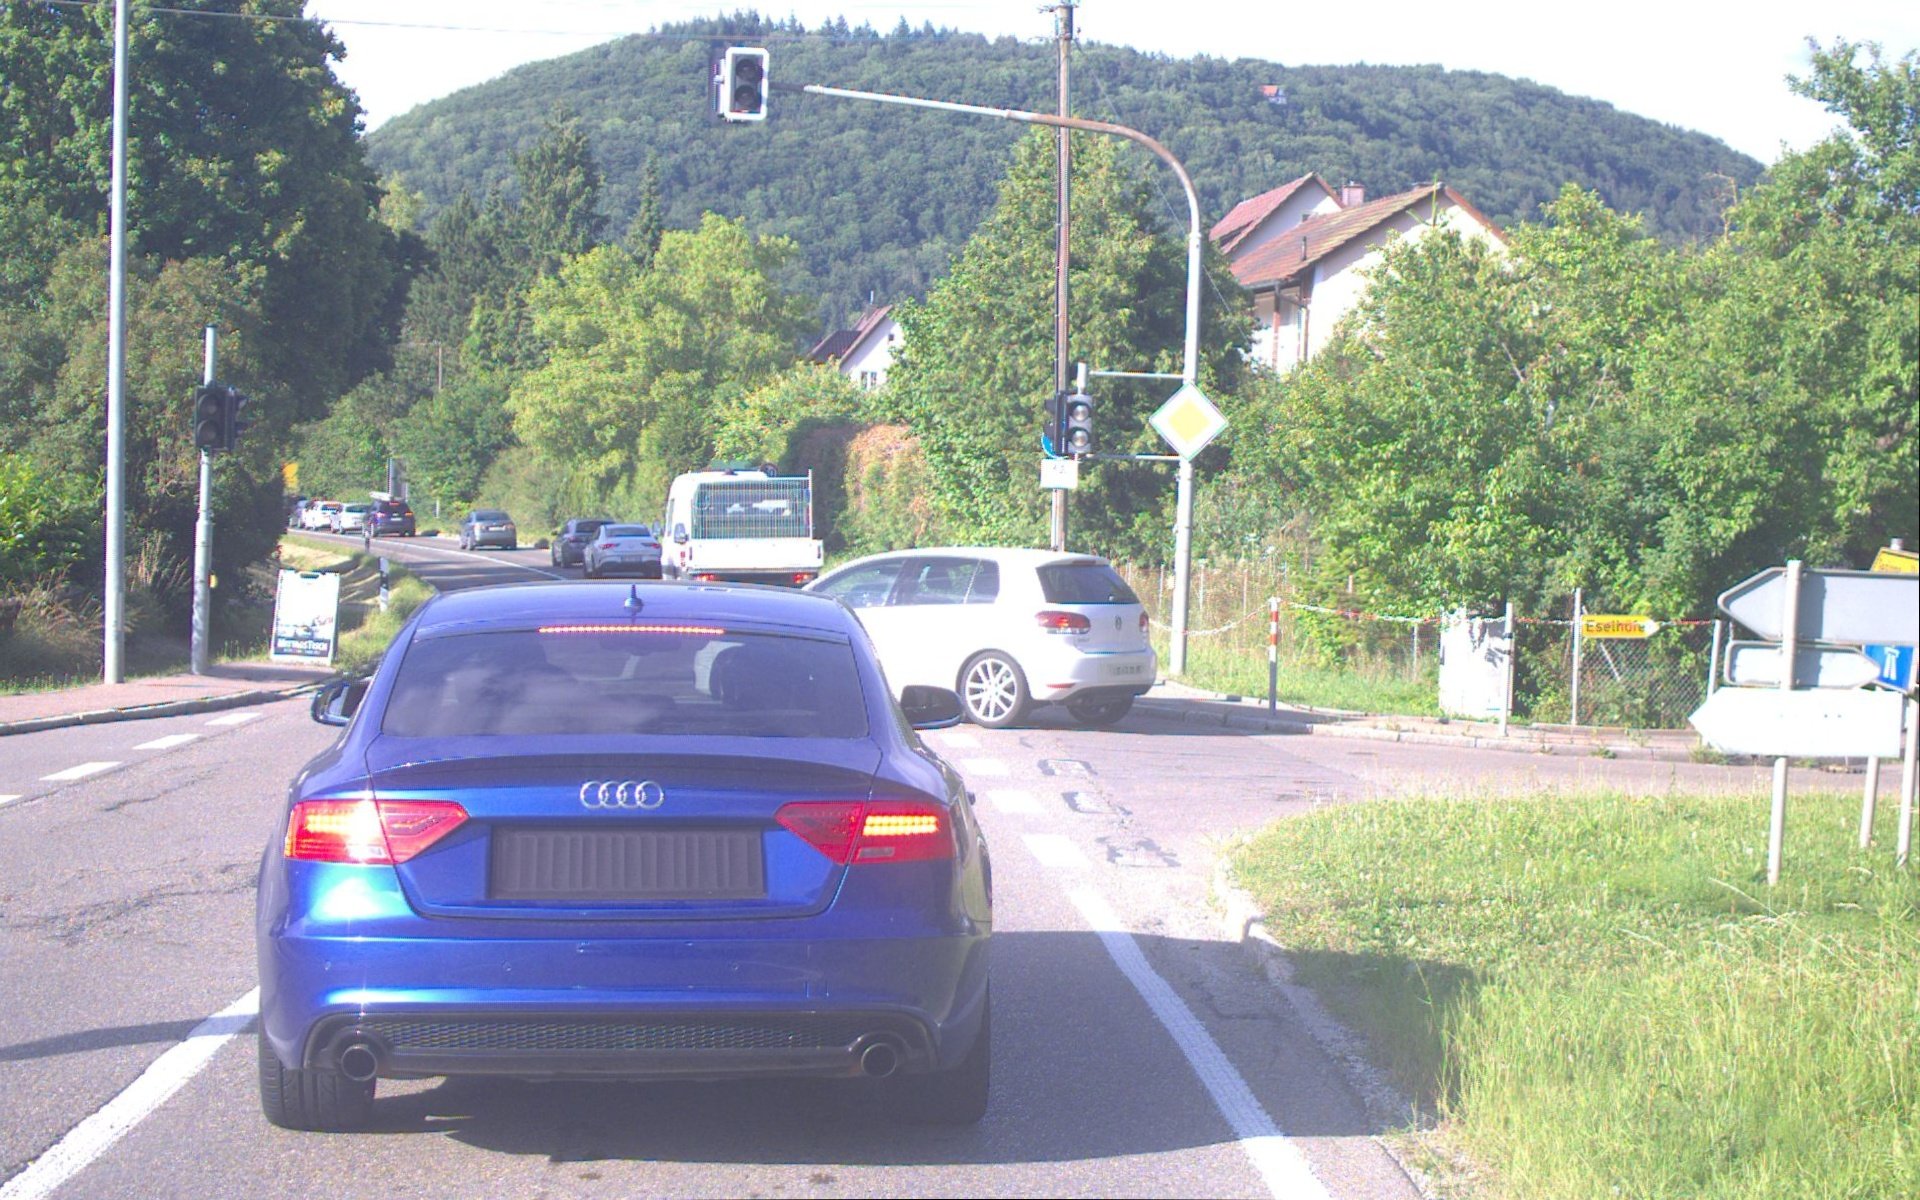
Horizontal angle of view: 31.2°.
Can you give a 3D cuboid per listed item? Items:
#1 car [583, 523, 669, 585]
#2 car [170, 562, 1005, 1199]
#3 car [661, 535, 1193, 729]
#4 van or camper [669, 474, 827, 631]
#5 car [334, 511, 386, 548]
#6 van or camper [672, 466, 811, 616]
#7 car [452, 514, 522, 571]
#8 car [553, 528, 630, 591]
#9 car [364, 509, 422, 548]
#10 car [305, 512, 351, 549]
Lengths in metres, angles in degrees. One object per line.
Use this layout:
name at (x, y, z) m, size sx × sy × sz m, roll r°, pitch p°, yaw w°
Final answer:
car at (-8.705, -1.214, 89.410) m, size 1.819 × 1.546 × 4.001 m, roll -1°, pitch 1°, yaw -11°
car at (-0.928, 0.628, 9.733) m, size 1.829 × 1.404 × 4.227 m, roll -1°, pitch 1°, yaw -3°
car at (-0.306, 0.235, 29.060) m, size 4.168 × 1.410 × 1.773 m, roll 3°, pitch 1°, yaw 33°
van or camper at (-3.455, -0.797, 55.013) m, size 2.179 × 2.377 × 5.371 m, roll 0°, pitch 2°, yaw -7°
car at (-27.989, -3.275, 160.240) m, size 1.941 × 1.678 × 4.001 m, roll -1°, pitch 1°, yaw -16°
van or camper at (-4.480, -1.220, 69.483) m, size 2.414 × 2.894 × 6.133 m, roll 0°, pitch 2°, yaw -7°
car at (-17.209, -2.115, 124.928) m, size 1.993 × 2.006 × 4.002 m, roll 0°, pitch 2°, yaw -15°
car at (-10.818, -1.208, 100.763) m, size 1.796 × 1.787 × 4.001 m, roll -1°, pitch 1°, yaw -13°
car at (-25.052, -3.151, 151.791) m, size 2.040 × 1.678 × 4.002 m, roll 0°, pitch 2°, yaw -16°
car at (-31.049, -3.413, 168.830) m, size 1.748 × 1.776 × 4.001 m, roll -1°, pitch 2°, yaw -17°
